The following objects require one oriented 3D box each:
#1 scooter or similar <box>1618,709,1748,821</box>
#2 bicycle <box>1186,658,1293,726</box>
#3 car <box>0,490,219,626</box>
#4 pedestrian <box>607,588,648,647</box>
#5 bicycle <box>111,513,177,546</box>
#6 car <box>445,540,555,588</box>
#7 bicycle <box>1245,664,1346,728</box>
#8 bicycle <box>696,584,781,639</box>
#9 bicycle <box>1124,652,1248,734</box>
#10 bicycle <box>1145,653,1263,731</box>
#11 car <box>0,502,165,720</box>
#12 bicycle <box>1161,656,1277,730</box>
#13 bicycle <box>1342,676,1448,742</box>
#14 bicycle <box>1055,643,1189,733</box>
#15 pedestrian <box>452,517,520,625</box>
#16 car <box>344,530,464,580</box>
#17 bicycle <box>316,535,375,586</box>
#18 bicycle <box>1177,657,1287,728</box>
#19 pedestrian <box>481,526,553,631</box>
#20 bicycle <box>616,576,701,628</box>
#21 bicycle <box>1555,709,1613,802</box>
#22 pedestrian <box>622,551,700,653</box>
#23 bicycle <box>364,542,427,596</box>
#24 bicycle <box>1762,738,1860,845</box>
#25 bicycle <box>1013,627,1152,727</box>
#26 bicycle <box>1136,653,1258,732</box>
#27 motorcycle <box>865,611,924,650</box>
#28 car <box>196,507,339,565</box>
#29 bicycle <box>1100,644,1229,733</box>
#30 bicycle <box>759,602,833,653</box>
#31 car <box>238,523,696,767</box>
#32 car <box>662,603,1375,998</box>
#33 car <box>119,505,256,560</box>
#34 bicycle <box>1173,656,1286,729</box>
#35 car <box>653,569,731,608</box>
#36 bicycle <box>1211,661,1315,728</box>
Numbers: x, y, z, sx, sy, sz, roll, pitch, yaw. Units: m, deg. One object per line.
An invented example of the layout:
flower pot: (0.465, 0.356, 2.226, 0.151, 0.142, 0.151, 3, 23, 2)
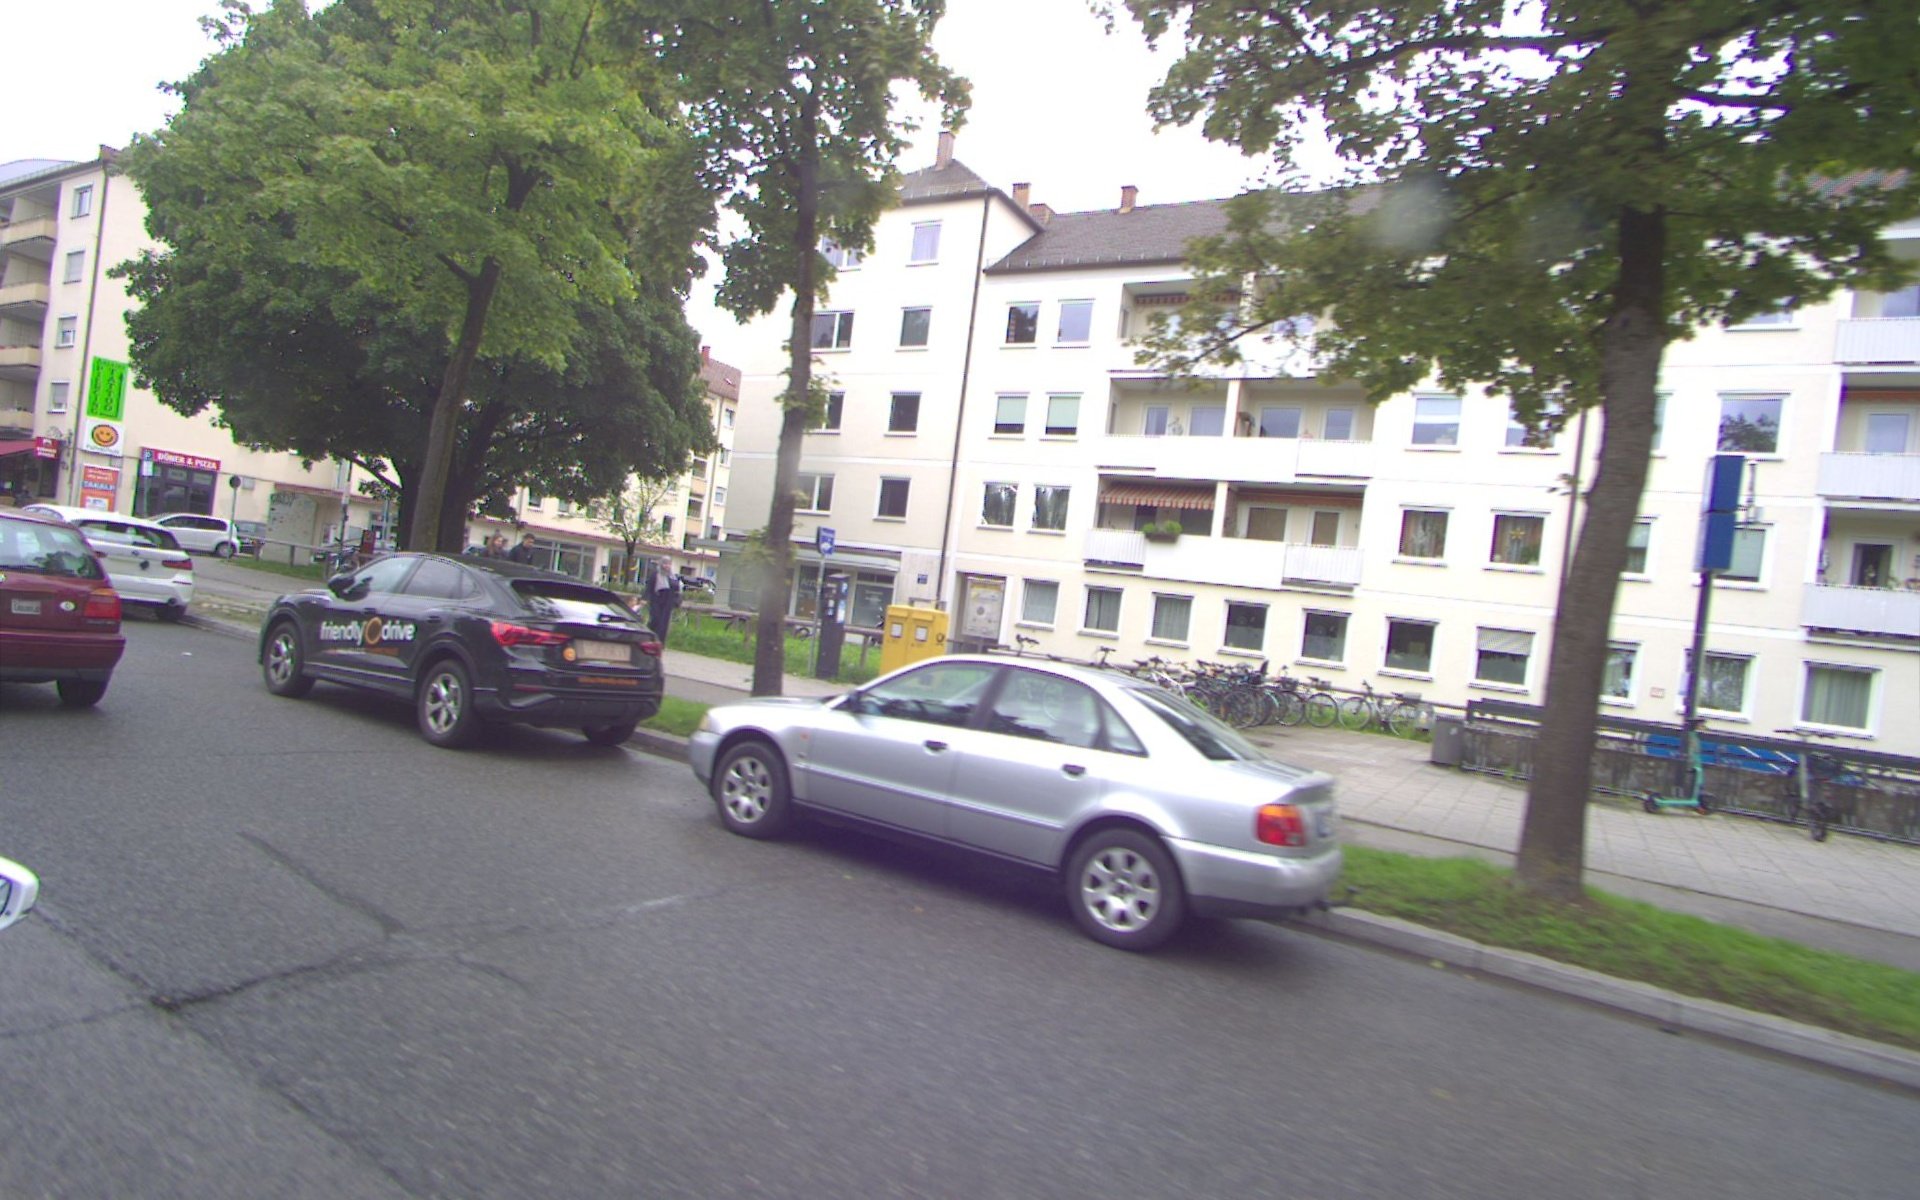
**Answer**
scooter or similar: (8.972, 2.044, 12.487, 1.367, 1.215, 0.358, 7, 1, -11)
bicycle: (5.422, 1.770, 19.568, 1.852, 1.041, 0.431, 8, 1, 33)
car: (-13.007, -0.675, 14.899, 4.068, 1.481, 1.687, 7, -3, 31)
pedestrian: (-5.772, 0.308, 17.464, 0.428, 0.961, 0.408, 7, 1, 30)
bicycle: (-31.863, -2.755, 39.299, 0.548, 0.968, 1.851, 7, -2, 30)
car: (-23.115, -1.766, 50.769, 1.840, 1.795, 4.742, 7, 0, 30)
bicycle: (6.994, 1.983, 21.029, 1.852, 1.041, 0.431, 8, 1, 33)
bicycle: (-4.583, 0.259, 20.949, 0.425, 0.985, 1.879, 7, 0, 33)
bicycle: (3.689, 1.503, 16.532, 1.852, 1.041, 0.431, 8, 1, 33)
bicycle: (4.208, 1.575, 17.424, 1.852, 1.041, 0.431, 8, 1, 33)
car: (-7.894, -0.120, 7.559, 3.854, 1.399, 1.686, 7, -2, 32)
bicycle: (4.631, 1.652, 18.061, 1.852, 1.041, 0.431, 8, 1, 33)
bicycle: (8.903, 2.225, 20.641, 1.852, 1.041, 0.431, 8, 1, 33)
bicycle: (2.401, 1.294, 15.068, 1.852, 1.041, 0.431, 8, 1, 33)
pedestrian: (-8.961, -0.544, 19.021, 0.887, 1.913, 0.588, 7, 1, 31)
car: (-25.434, -2.041, 46.190, 1.839, 1.681, 4.401, 7, 0, 29)
bicycle: (-15.502, -1.008, 25.365, 1.823, 1.118, 0.389, 7, -1, 33)
bicycle: (5.101, 1.724, 18.922, 1.852, 1.041, 0.431, 8, 1, 33)
pedestrian: (-8.654, -0.413, 19.642, 0.904, 1.913, 0.730, 7, 1, 30)
bicycle: (-6.942, 0.063, 23.263, 0.549, 0.950, 1.880, 7, -2, 33)
bicycle: (8.346, 2.047, 13.504, 0.425, 1.041, 1.881, 7, 0, 28)
pedestrian: (-5.346, 0.044, 18.016, 0.821, 1.702, 0.839, 7, 1, 30)
bicycle: (-13.581, -0.758, 24.184, 1.852, 1.116, 0.382, 7, -1, 33)
bicycle: (10.412, 2.302, 12.362, 0.425, 1.041, 1.881, 7, 0, 28)
bicycle: (1.731, 1.080, 14.438, 1.852, 1.148, 0.431, 8, 2, 33)
bicycle: (3.983, 1.544, 16.994, 1.852, 1.041, 0.431, 8, 1, 33)
motorcycle: (-2.217, 1.022, 33.856, 1.875, 1.035, 0.605, 7, -1, 32)
car: (-28.346, -2.586, 41.343, 1.839, 1.681, 4.402, 7, 0, 27)
bicycle: (3.221, 1.381, 15.926, 1.852, 1.115, 0.431, 8, 1, 33)
bicycle: (-3.724, 0.654, 23.051, 0.426, 0.985, 1.880, 7, -2, 33)
car: (-4.675, 0.343, 9.373, 4.204, 1.550, 1.720, 7, -2, 32)
car: (0.279, 1.034, 6.494, 4.171, 1.402, 1.640, 8, -2, 29)
car: (-28.204, -2.446, 36.807, 1.842, 1.434, 3.549, 8, 0, 36)
bicycle: (4.919, 1.681, 18.456, 1.852, 1.041, 0.431, 8, 1, 33)
car: (-16.683, -0.685, 62.808, 1.839, 1.679, 4.750, 7, -2, 27)
bicycle: (6.076, 1.882, 20.248, 1.852, 1.041, 0.431, 8, 1, 33)
